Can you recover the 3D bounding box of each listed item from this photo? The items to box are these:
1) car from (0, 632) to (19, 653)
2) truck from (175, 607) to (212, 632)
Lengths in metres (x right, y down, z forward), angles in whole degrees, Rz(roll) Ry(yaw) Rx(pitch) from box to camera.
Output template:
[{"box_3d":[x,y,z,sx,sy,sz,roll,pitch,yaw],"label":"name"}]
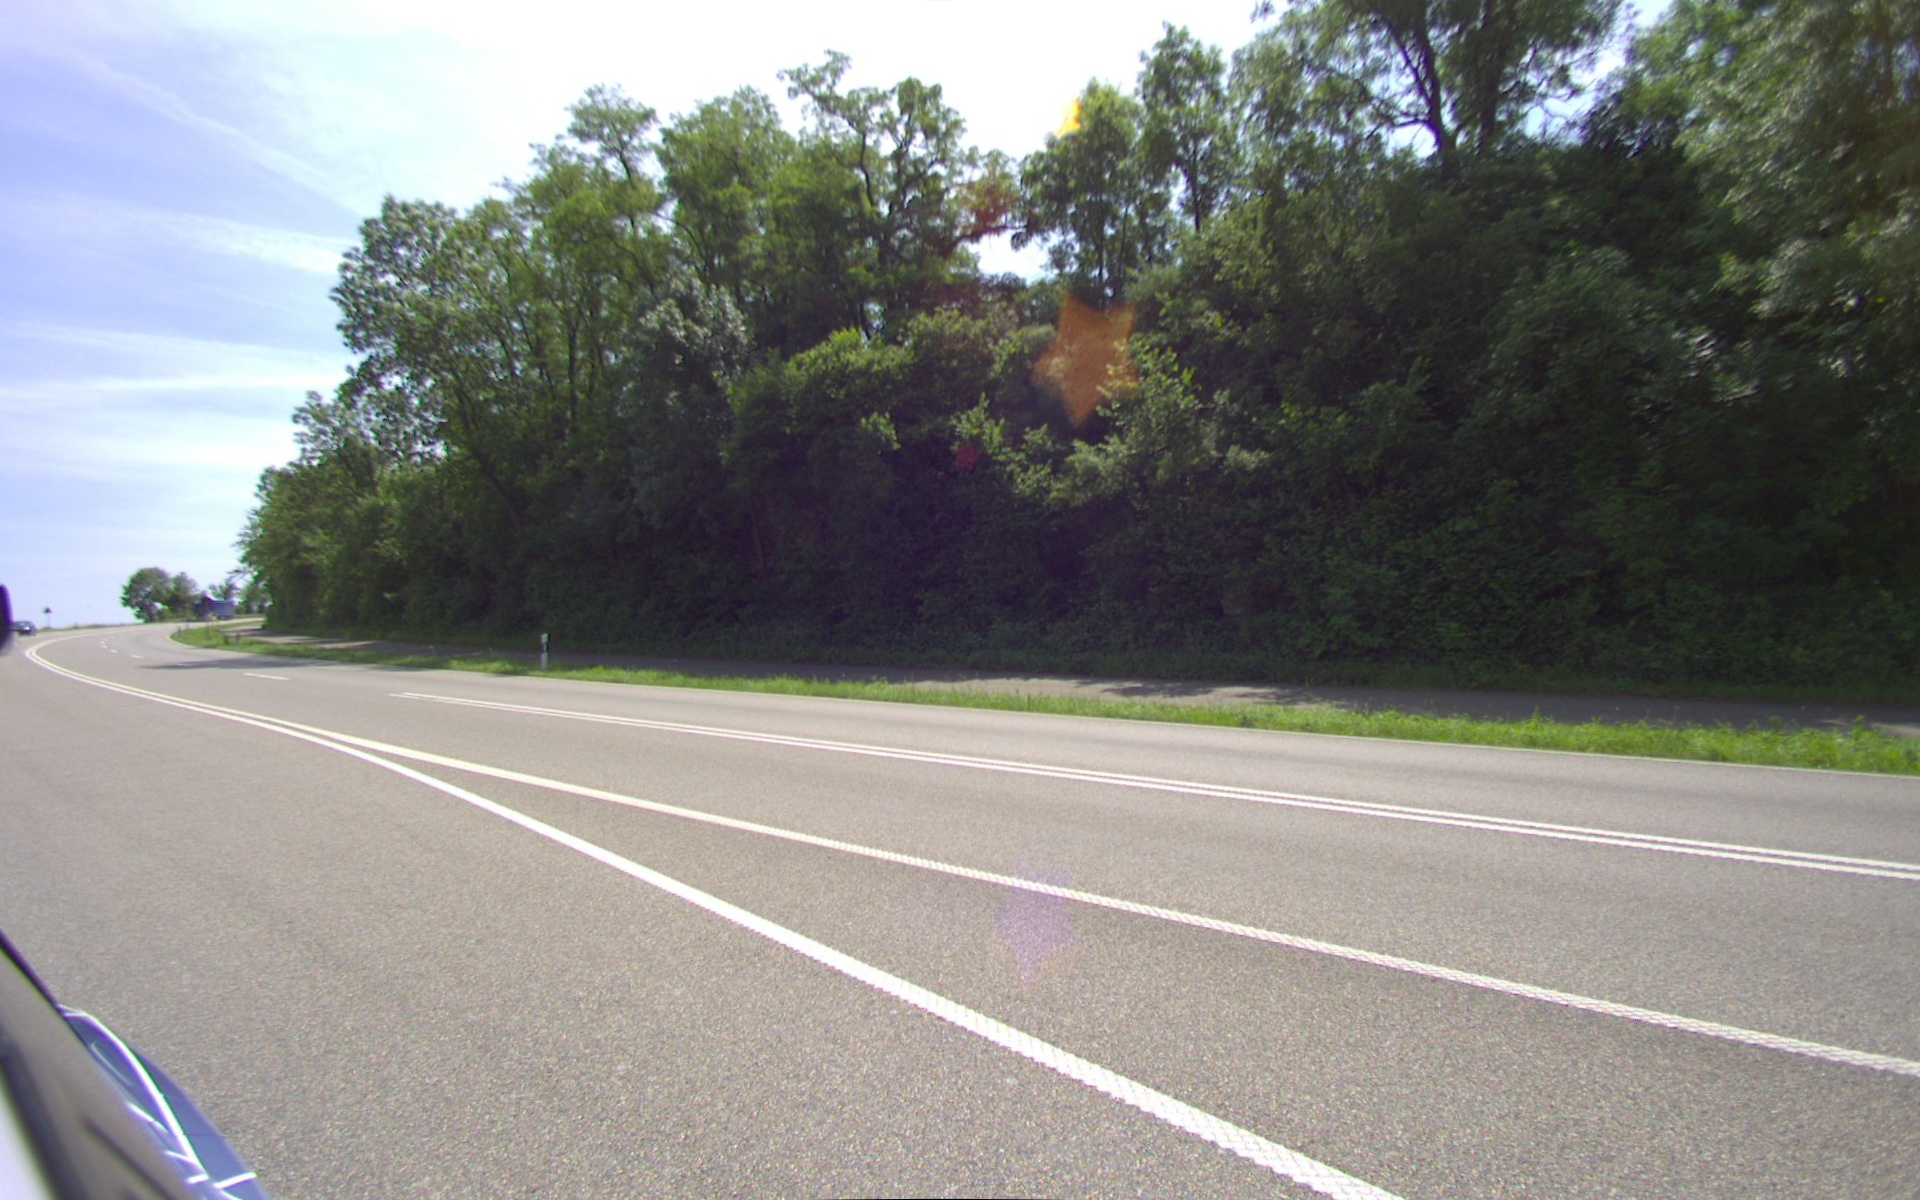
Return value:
[{"box_3d":[-91.446,4.058,96.796,1.739,1.874,3.817,0,0,-38],"label":"car"},{"box_3d":[-143.777,3.600,190.046,4.327,4.493,14.752,-1,-1,-33],"label":"truck"}]
